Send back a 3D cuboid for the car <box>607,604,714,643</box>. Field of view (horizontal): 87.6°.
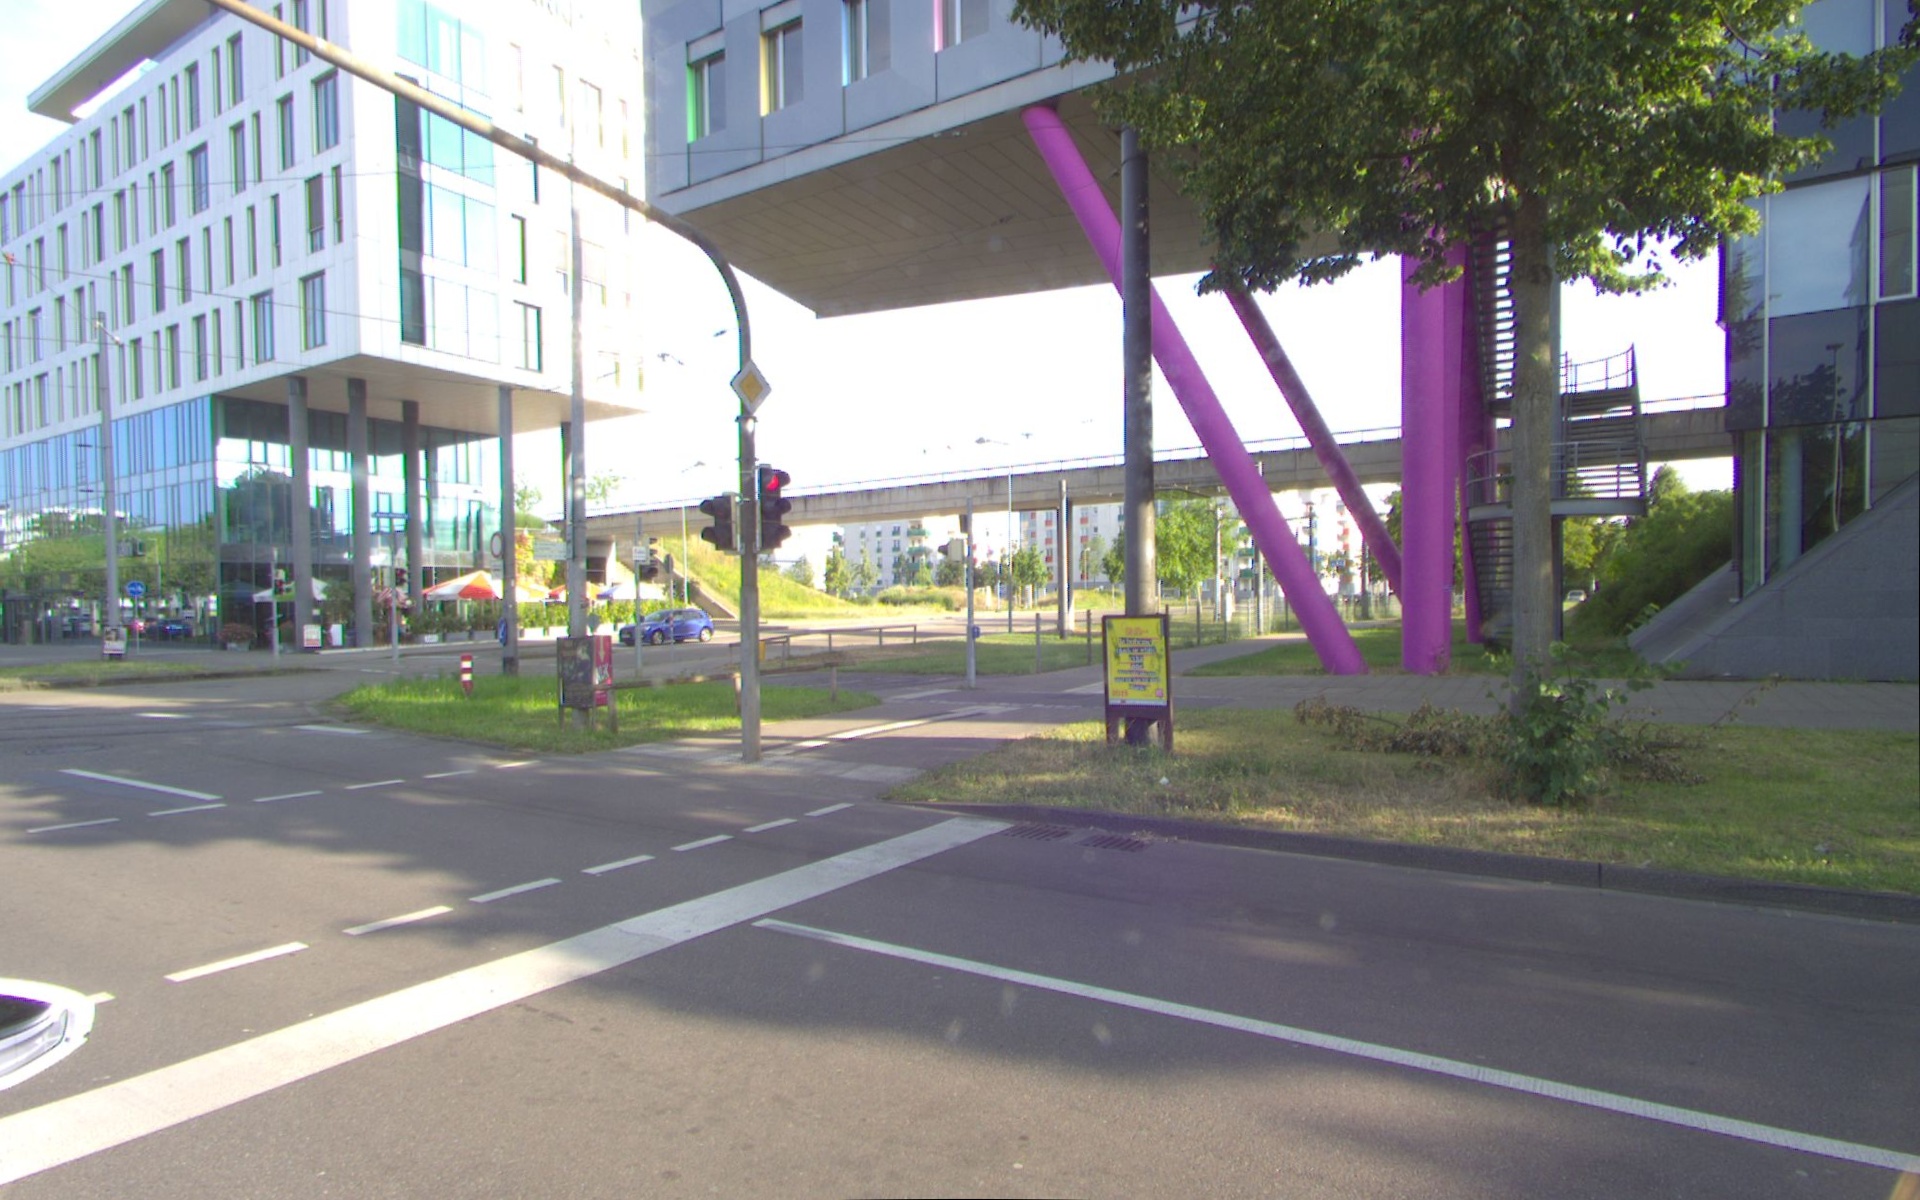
[{"bbox_3d":[-12.477,0.937,41.950,1.832,1.443,4.176,0,1,31],"label":"car"}]
